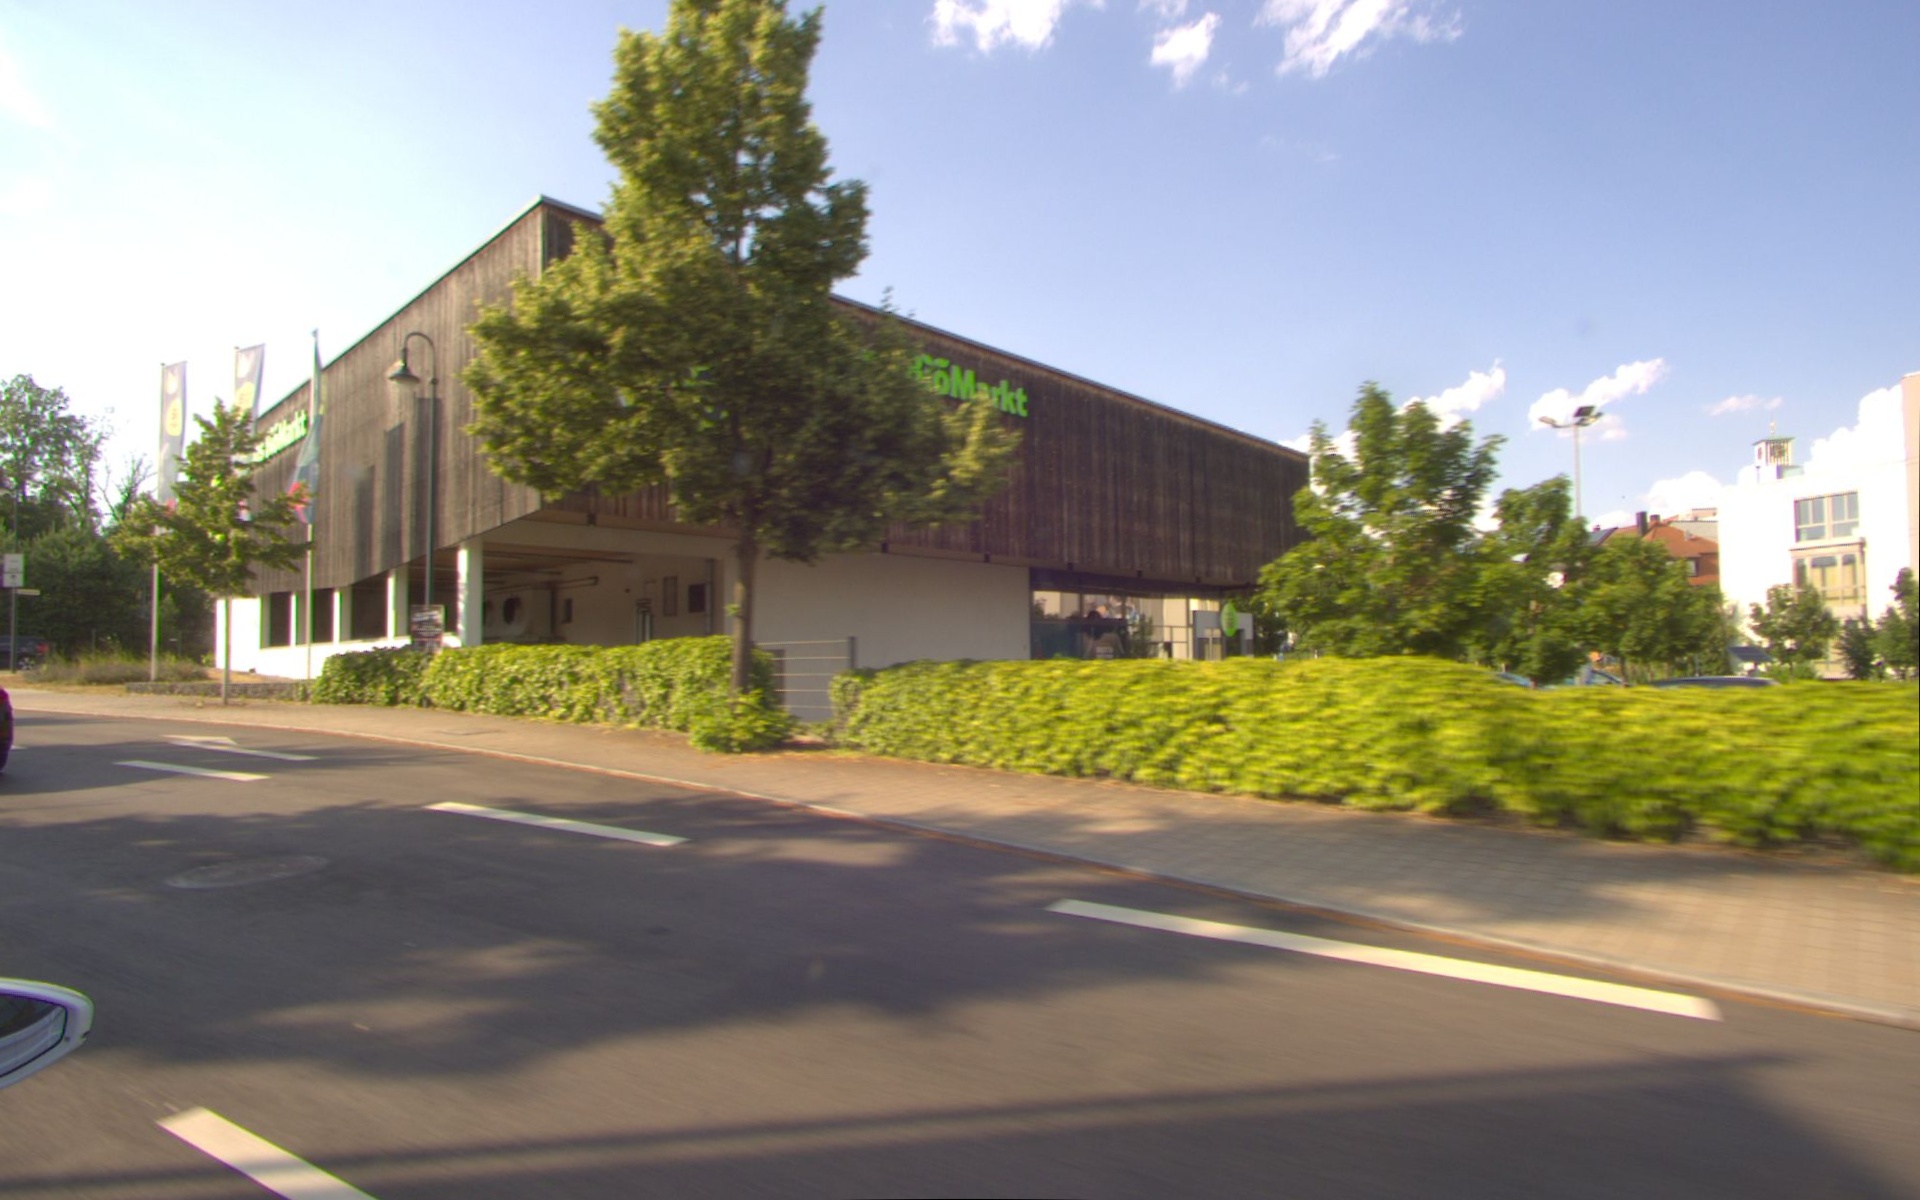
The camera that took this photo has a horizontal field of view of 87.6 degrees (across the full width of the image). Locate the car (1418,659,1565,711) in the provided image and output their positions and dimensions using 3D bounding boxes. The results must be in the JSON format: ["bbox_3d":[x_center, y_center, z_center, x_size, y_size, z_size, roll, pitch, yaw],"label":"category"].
[{"bbox_3d":[17.566,2.758,33.170,3.957,1.570,1.984,-2,-3,43],"label":"car"}]

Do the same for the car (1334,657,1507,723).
[{"bbox_3d":[12.656,2.415,27.637,3.957,1.648,1.984,-2,-3,43],"label":"car"}]

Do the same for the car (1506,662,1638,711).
[{"bbox_3d":[23.155,3.228,37.951,3.957,1.648,1.984,-2,-3,43],"label":"car"}]

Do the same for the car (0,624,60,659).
[{"bbox_3d":[-43.918,1.889,45.487,4.211,1.587,1.783,1,-2,-30],"label":"car"}]

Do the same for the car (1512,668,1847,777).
[{"bbox_3d":[12.277,1.996,17.336,4.494,1.558,1.986,-2,-4,40],"label":"car"}]

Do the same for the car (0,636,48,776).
[{"bbox_3d":[-11.625,1.080,10.417,4.287,1.381,1.919,-1,-2,29],"label":"car"}]
